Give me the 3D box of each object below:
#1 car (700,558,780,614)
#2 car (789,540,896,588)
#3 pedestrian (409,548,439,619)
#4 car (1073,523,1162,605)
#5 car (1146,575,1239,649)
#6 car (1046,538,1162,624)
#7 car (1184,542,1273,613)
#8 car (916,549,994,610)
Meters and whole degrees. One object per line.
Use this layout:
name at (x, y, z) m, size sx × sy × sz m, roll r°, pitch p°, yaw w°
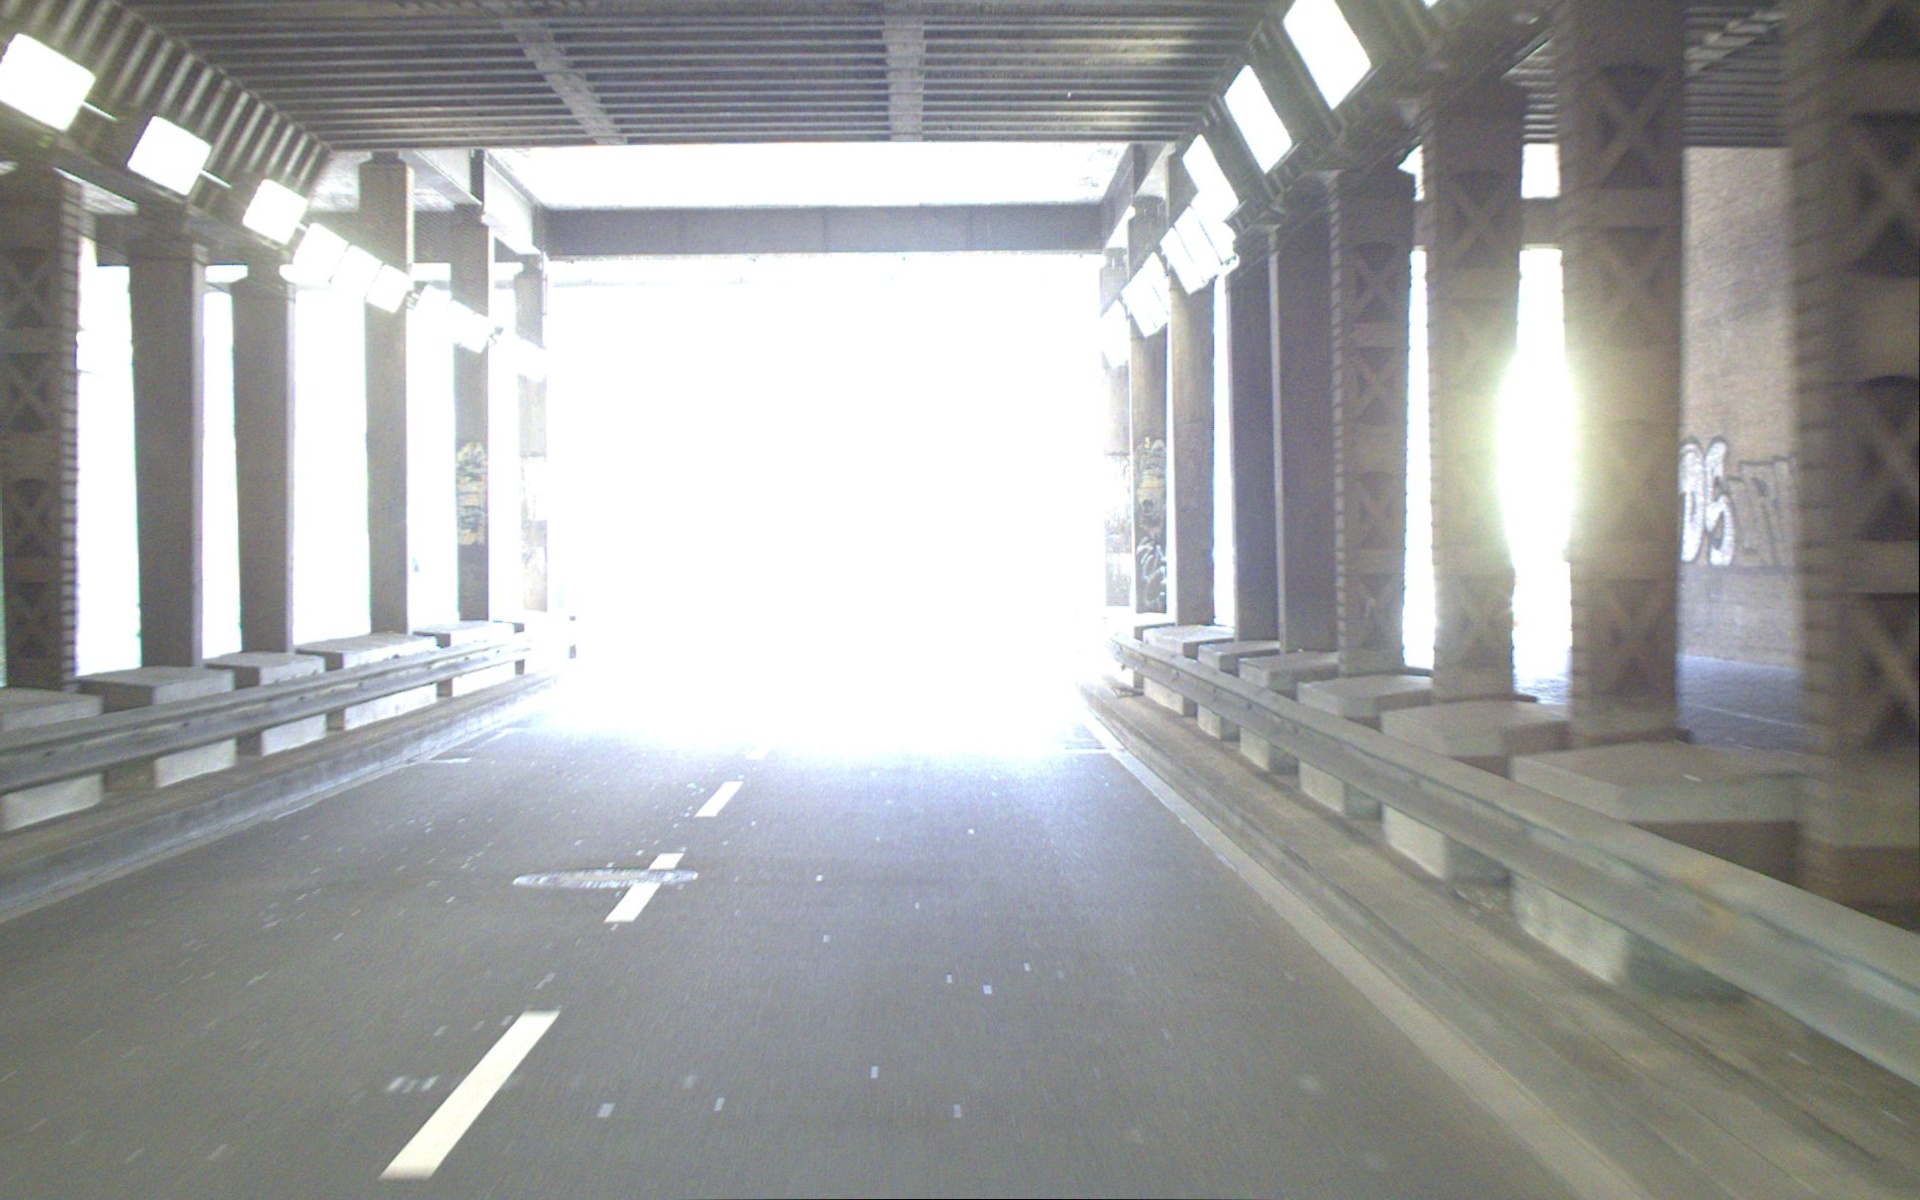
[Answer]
car at (-5.762, -0.397, 90.528) m, size 1.752 × 1.400 × 4.415 m, roll 0°, pitch 1°, yaw 1°
car at (-3.843, -1.191, 112.783) m, size 1.927 × 1.568 × 3.875 m, roll 0°, pitch 1°, yaw 26°
pedestrian at (-12.481, -0.390, 80.075) m, size 0.513 × 1.634 × 0.625 m, roll -1°, pitch 1°, yaw -27°
car at (4.001, -0.908, 87.175) m, size 2.172 × 2.002 × 4.808 m, roll -1°, pitch 1°, yaw 3°
car at (5.041, 0.247, 74.199) m, size 1.731 × 1.495 × 3.999 m, roll 0°, pitch 1°, yaw 8°
car at (2.629, -0.376, 63.541) m, size 1.947 × 1.523 × 4.090 m, roll 0°, pitch 1°, yaw 0°
car at (6.273, -0.535, 80.033) m, size 1.815 × 1.577 × 3.999 m, roll -1°, pitch 1°, yaw 8°
car at (-0.093, -0.508, 82.322) m, size 1.786 × 1.389 × 4.105 m, roll -1°, pitch 1°, yaw 1°
